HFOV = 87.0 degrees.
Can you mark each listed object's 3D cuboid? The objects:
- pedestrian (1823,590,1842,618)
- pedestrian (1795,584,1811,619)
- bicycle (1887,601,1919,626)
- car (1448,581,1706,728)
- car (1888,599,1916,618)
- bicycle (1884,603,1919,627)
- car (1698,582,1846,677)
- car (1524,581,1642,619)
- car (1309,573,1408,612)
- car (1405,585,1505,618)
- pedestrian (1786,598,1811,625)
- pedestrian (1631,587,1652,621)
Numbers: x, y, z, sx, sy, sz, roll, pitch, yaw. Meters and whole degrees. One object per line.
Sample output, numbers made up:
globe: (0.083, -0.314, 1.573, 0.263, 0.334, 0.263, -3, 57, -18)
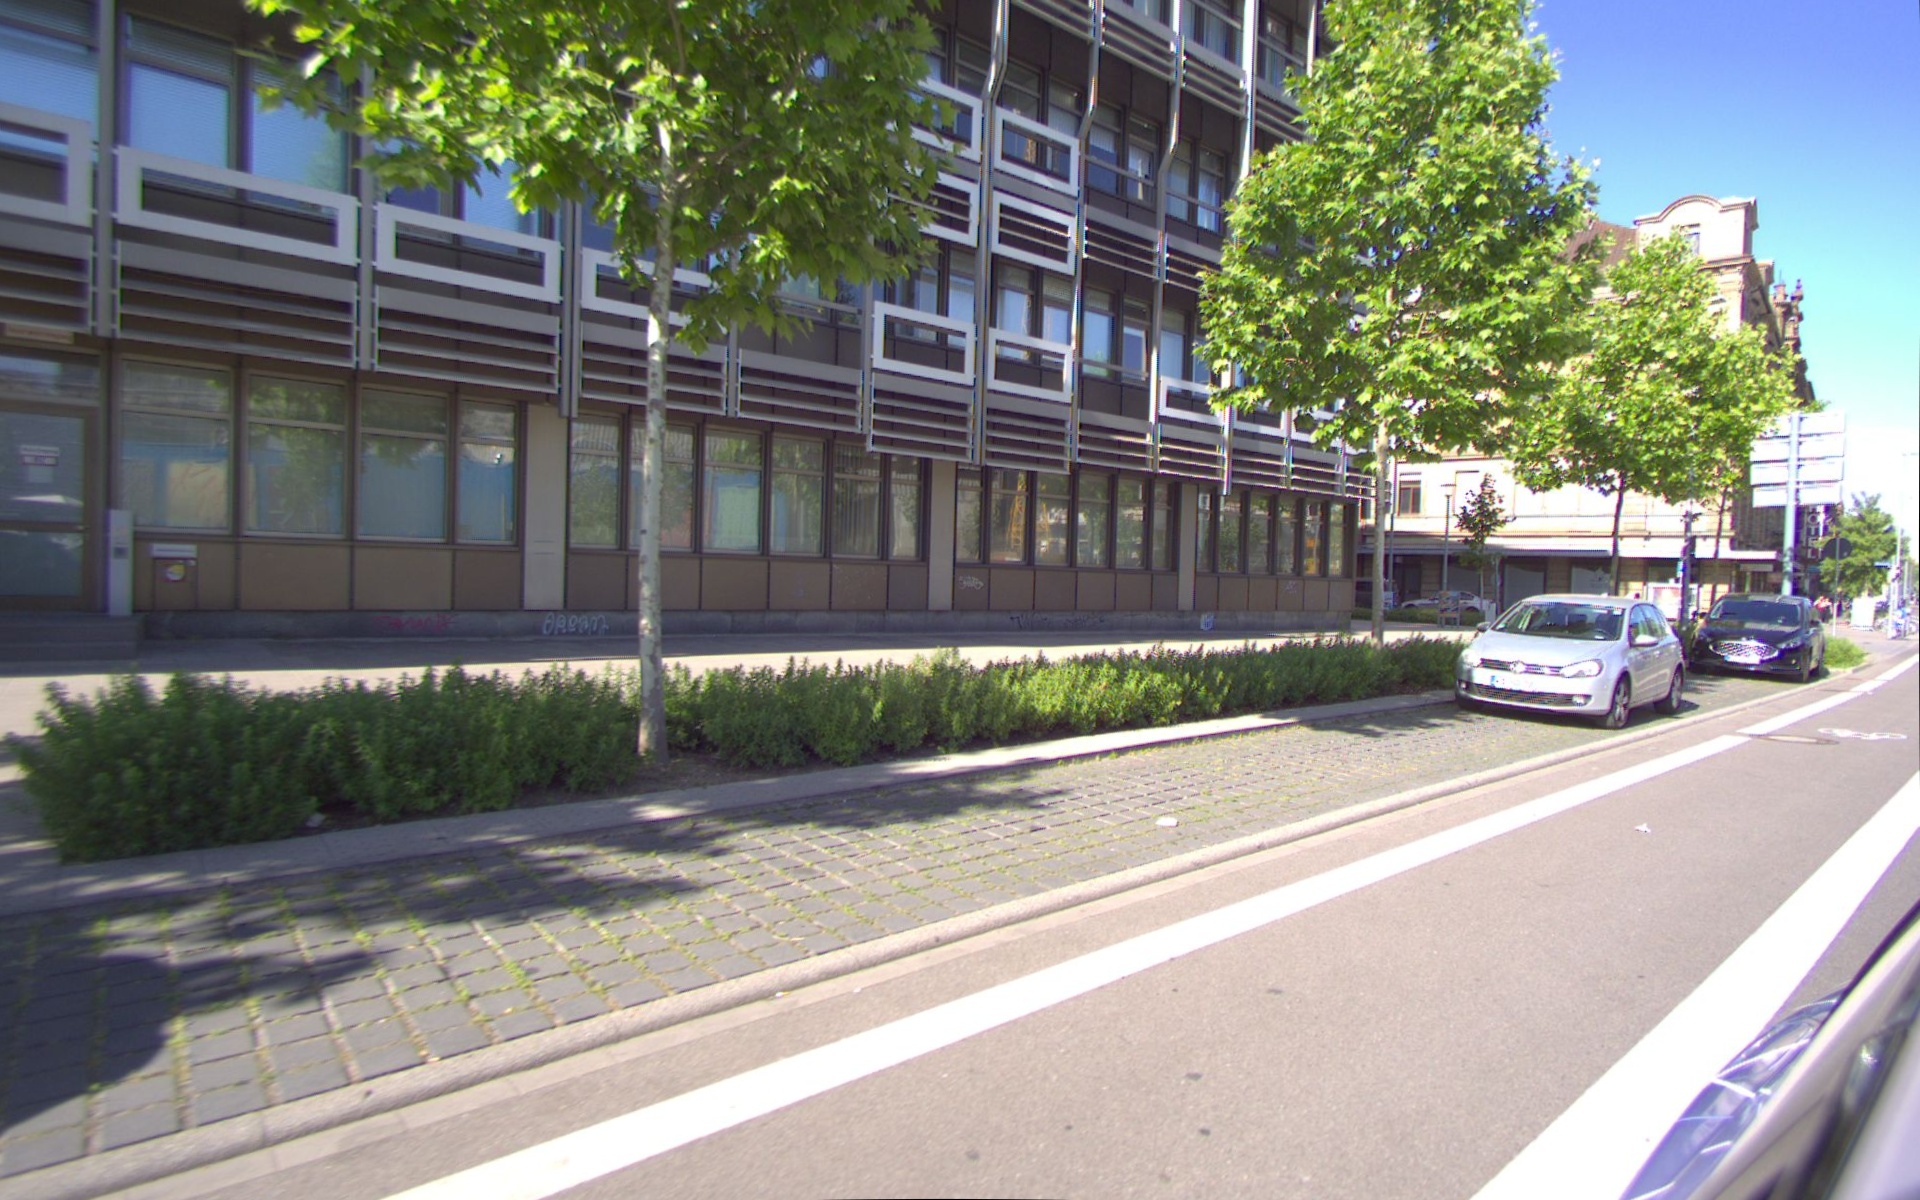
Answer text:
pedestrian: (53.207, 0.237, 61.701, 0.752, 1.603, 0.795, 5, 3, 44)
pedestrian: (44.371, 0.101, 53.272, 0.492, 1.824, 0.512, 1, 1, -38)
bicycle: (51.141, 0.744, 54.408, 1.865, 1.266, 0.681, 6, 4, 44)
car: (7.819, 0.569, 12.672, 4.084, 1.483, 1.621, 0, 3, -42)
car: (82.188, 0.710, 88.273, 1.665, 1.603, 3.689, -1, 0, 44)
bicycle: (49.095, 0.802, 52.186, 2.051, 1.133, 0.593, 5, 4, 45)
car: (16.472, 0.512, 20.449, 4.395, 1.679, 1.749, 0, 2, -44)
car: (28.259, -0.019, 45.973, 4.384, 1.563, 1.829, 2, 2, 37)
car: (19.311, -0.390, 49.111, 4.144, 1.774, 1.793, 2, 2, 37)
car: (24.064, 0.066, 49.259, 4.168, 1.412, 1.537, 2, 1, 37)
pedestrian: (39.852, 0.527, 48.101, 0.635, 1.232, 0.718, 0, 4, -40)
pedestrian: (30.633, 0.171, 45.494, 0.680, 1.468, 0.535, 2, 1, 40)
